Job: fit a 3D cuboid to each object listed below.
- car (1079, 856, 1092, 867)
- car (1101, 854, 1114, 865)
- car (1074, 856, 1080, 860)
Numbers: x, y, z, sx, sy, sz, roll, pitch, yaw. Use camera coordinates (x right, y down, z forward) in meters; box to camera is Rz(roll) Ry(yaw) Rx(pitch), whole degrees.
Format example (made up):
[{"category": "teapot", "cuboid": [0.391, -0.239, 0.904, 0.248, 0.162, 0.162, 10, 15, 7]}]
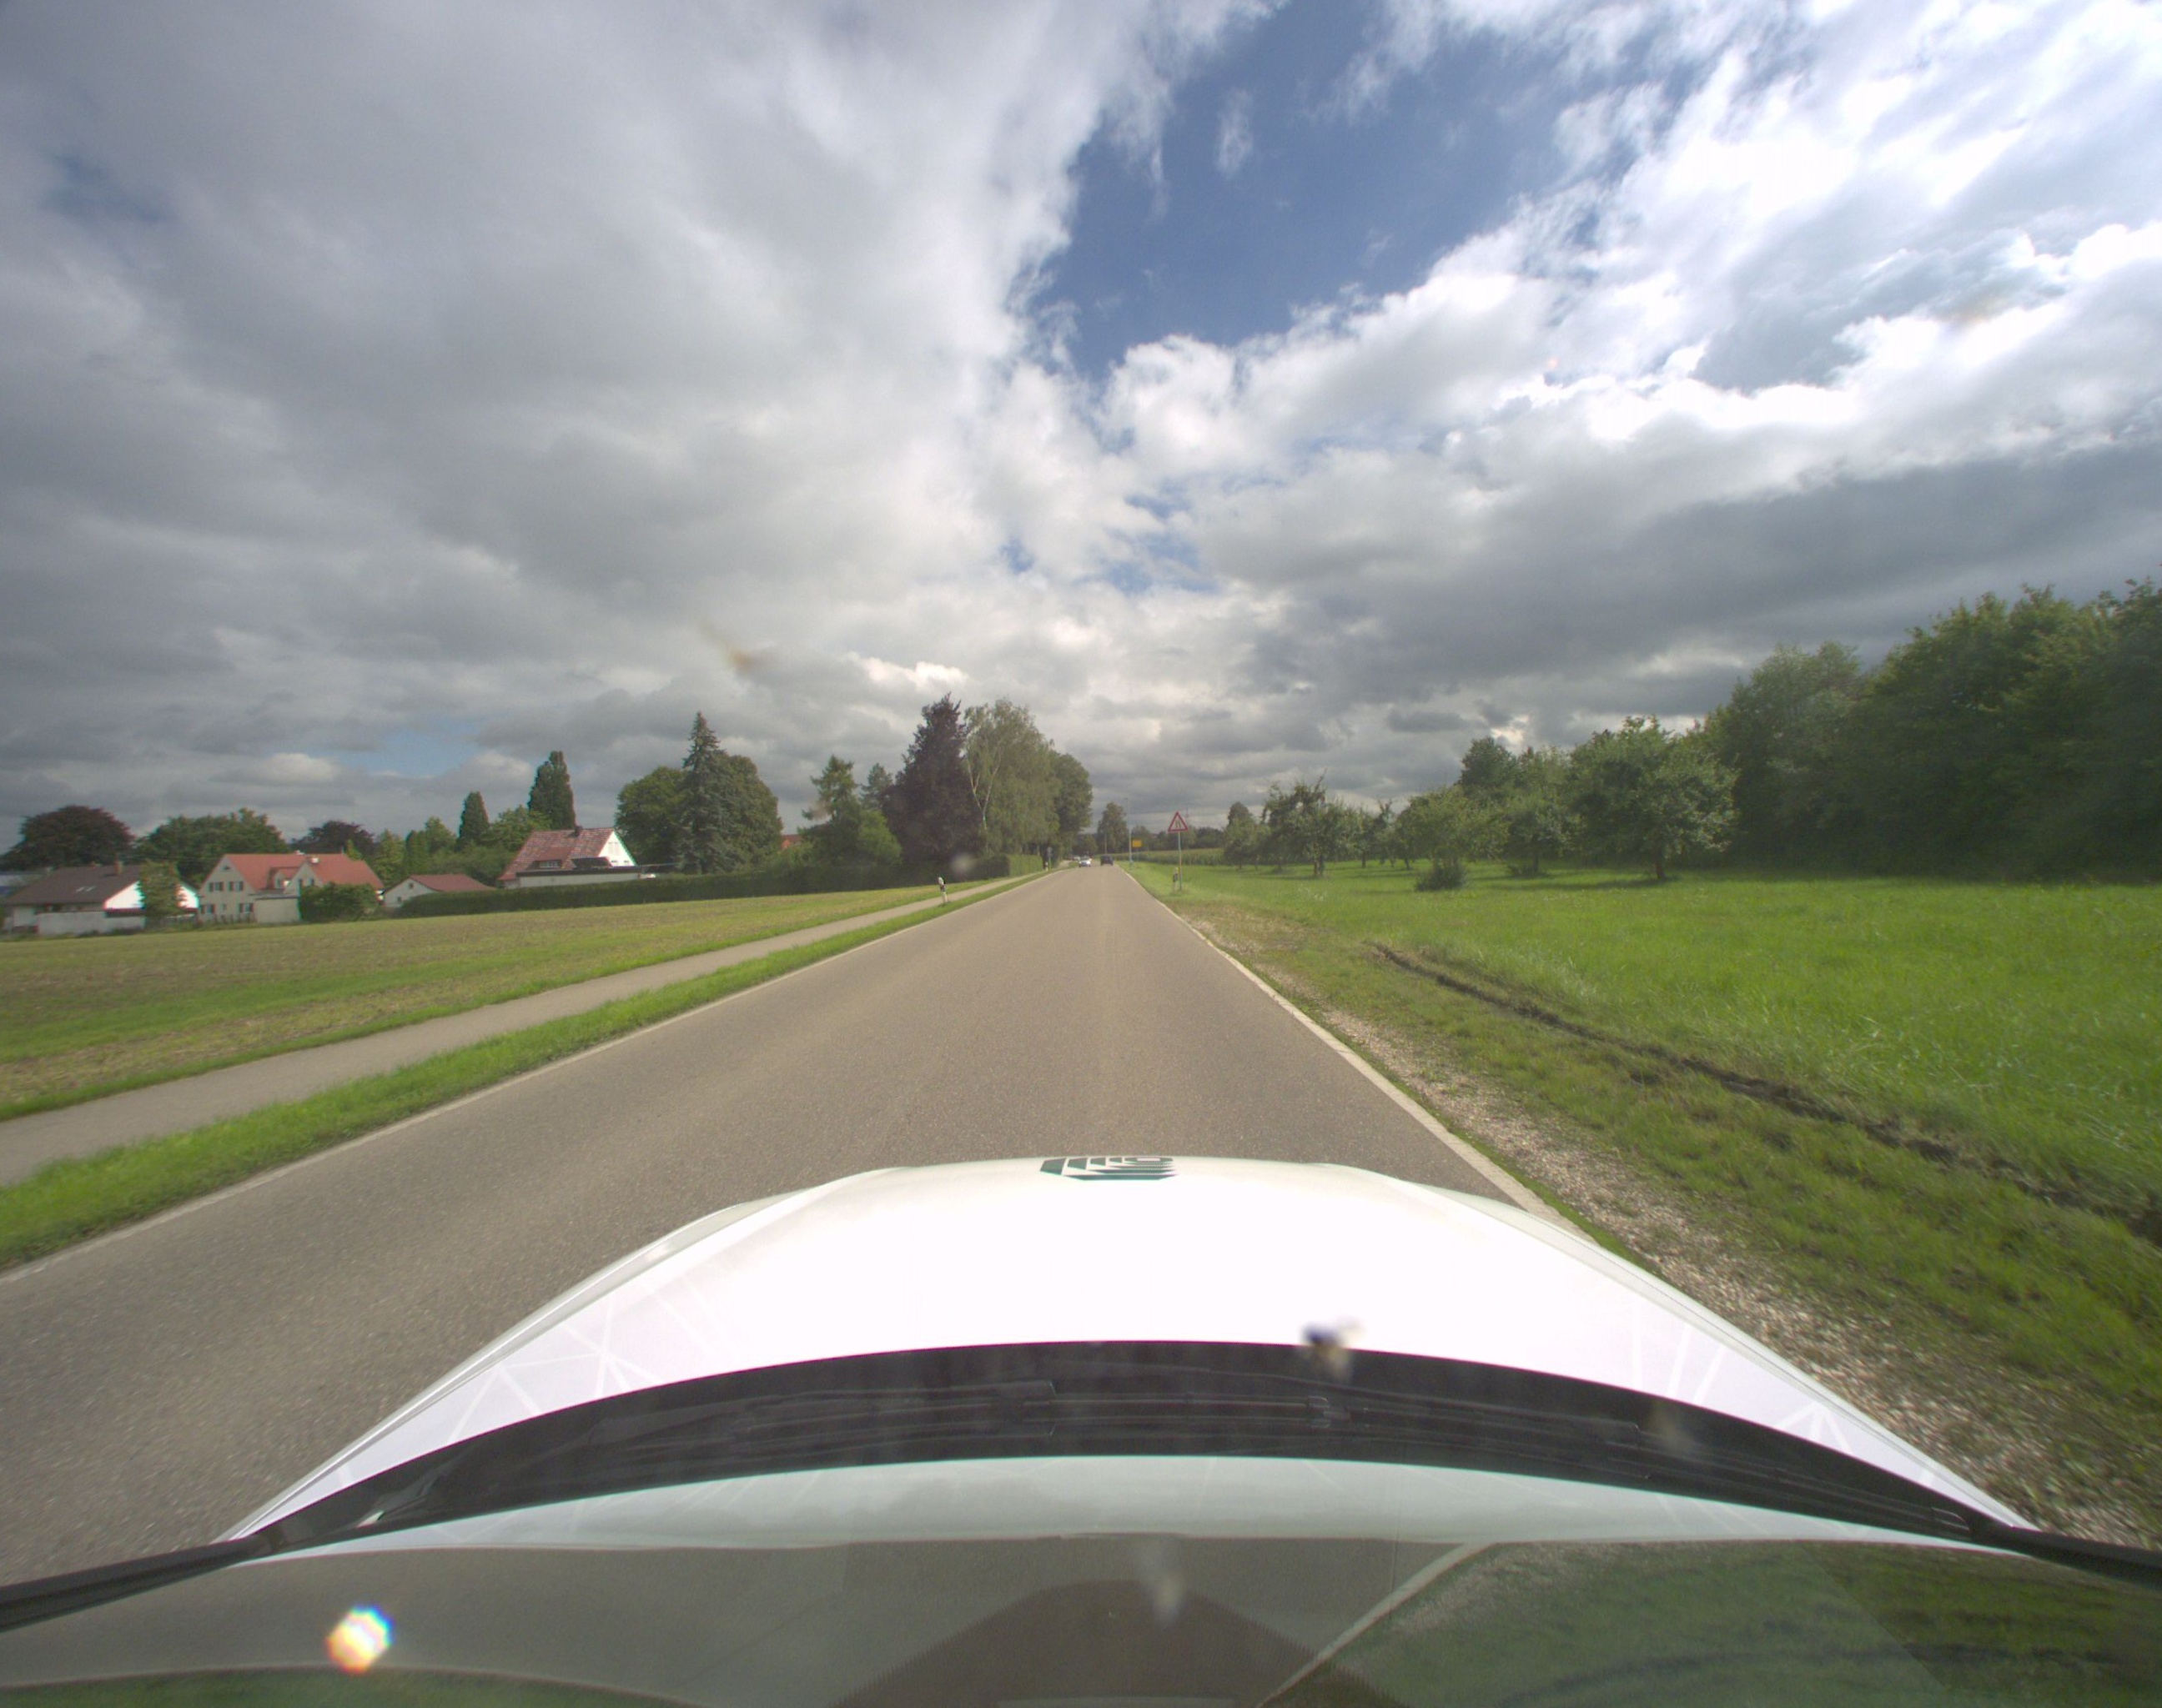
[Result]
[{"category": "car", "cuboid": [0.628, 1.062, 116.648, 1.688, 1.459, 3.544, -2, 0, 2]}, {"category": "car", "cuboid": [4.058, 0.828, 125.706, 1.899, 1.666, 4.001, -3, 0, 1]}, {"category": "car", "cuboid": [-1.210, 1.247, 251.471, 1.739, 1.222, 3.544, -3, 0, 2]}]
